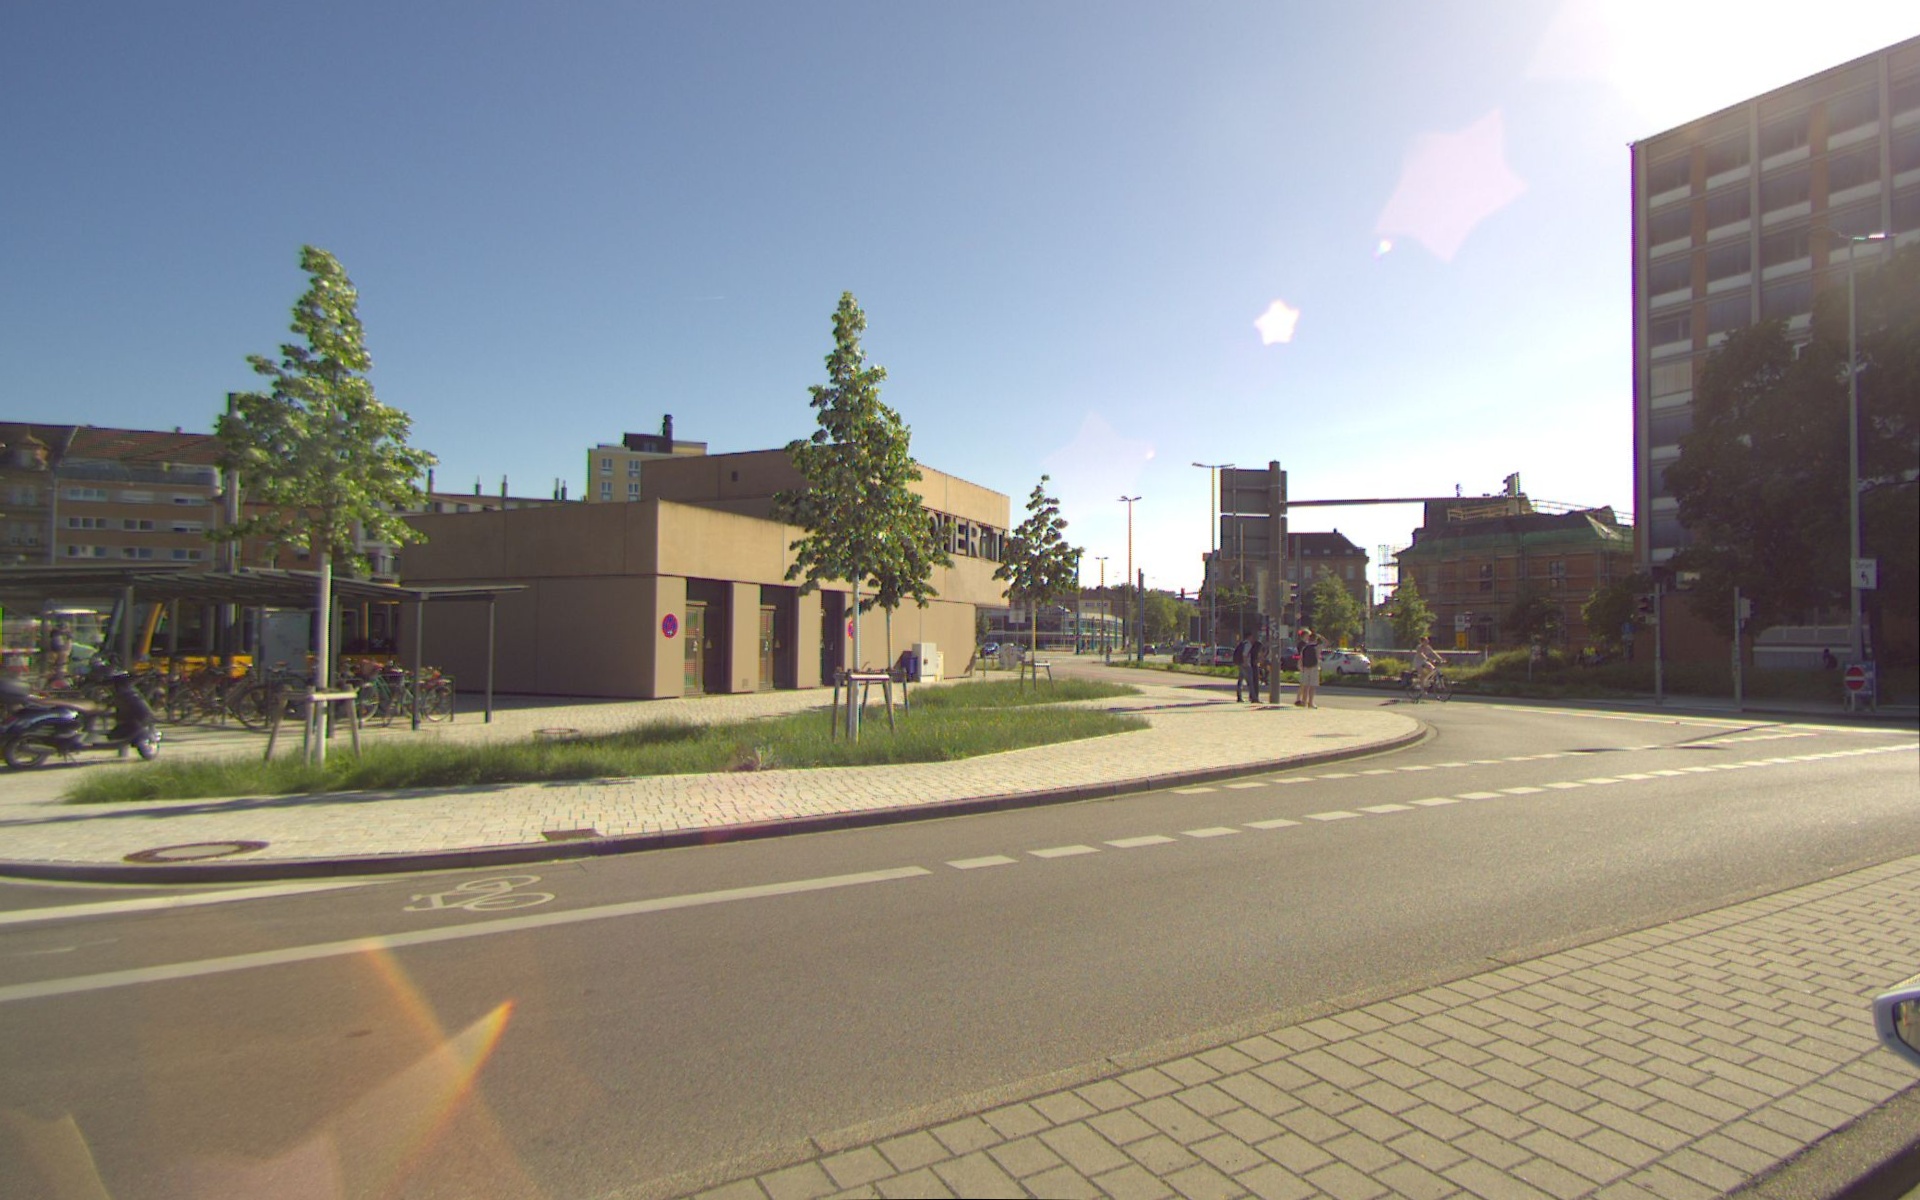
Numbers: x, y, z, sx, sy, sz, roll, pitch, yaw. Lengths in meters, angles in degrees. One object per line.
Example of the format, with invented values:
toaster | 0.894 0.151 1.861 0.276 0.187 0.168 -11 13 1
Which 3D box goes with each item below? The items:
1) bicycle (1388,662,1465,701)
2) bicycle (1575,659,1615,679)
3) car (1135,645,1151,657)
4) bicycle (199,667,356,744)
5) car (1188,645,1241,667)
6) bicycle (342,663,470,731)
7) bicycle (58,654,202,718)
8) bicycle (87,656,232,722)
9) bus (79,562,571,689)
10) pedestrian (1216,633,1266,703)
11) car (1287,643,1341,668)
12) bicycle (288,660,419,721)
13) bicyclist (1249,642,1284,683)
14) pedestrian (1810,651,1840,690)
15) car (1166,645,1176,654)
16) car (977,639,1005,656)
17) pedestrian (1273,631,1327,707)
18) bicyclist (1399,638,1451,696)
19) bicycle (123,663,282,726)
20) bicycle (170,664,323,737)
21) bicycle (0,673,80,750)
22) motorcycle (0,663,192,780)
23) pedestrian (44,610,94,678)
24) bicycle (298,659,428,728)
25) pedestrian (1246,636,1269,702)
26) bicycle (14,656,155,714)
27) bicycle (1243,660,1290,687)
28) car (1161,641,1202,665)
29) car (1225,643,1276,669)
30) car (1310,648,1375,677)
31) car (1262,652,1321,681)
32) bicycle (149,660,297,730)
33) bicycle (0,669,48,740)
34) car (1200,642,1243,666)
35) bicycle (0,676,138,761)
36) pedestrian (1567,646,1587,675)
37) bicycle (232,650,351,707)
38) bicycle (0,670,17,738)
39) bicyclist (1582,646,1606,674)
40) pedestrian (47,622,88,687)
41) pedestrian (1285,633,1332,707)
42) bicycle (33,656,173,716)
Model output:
bicycle | 12.629 2.202 27.287 0.729 1.008 1.983 1 -4 -18
bicycle | 33.582 3.643 53.185 0.587 0.976 2.081 1 -2 -8
car | 25.209 6.991 138.370 1.807 1.653 4.390 0 -2 6
bicycle | -10.900 1.652 16.132 0.524 1.051 2.070 2 0 26
car | 17.270 3.766 68.325 1.810 1.406 4.895 1 -2 -8
bicycle | -9.964 1.723 18.160 0.524 1.051 2.070 2 0 26
bicycle | -15.899 1.626 19.319 0.524 1.051 2.070 5 1 26
bicycle | -15.014 1.643 18.904 0.524 1.051 2.070 5 1 26
bus | -18.437 0.873 31.342 2.810 3.112 13.620 0 -2 25
pedestrian | 7.112 1.735 25.464 0.831 1.711 0.896 5 -5 -34
car | 25.829 4.040 73.441 1.809 1.653 4.836 1 -2 -6
bicycle | -11.759 1.728 19.571 0.679 1.011 2.140 2 0 26
bicyclist | 10.911 2.229 35.798 0.675 1.440 1.125 1 -4 -14
pedestrian | 36.256 2.957 42.124 0.588 1.624 0.738 1 -2 -12
car | 50.549 11.910 241.069 1.959 2.040 4.003 0 -2 7
car | 3.810 5.820 123.332 1.962 2.040 3.997 0 -2 25
pedestrian | 8.393 1.706 24.840 1.082 1.822 0.705 2 -4 -5
bicyclist | 12.625 1.816 27.302 0.729 1.519 1.069 1 -4 -17
bicycle | -13.706 1.680 18.260 0.673 0.956 2.233 2 0 25
bicycle | -11.942 1.657 16.899 0.524 1.051 2.070 2 0 26
bicycle | -13.227 1.546 13.811 0.399 0.985 1.683 2 0 22
motorcycle | -10.846 1.449 12.475 0.558 1.235 2.087 0 -1 21
pedestrian | -25.991 1.283 29.309 0.755 1.942 0.803 0 -2 23
bicycle | -10.911 1.680 18.451 0.594 1.093 2.053 2 0 25
pedestrian | 8.007 1.852 27.059 0.585 1.751 0.580 0 -2 14
bicycle | -17.769 1.700 20.455 0.524 1.051 2.070 5 0 26
bicycle | 10.906 2.612 35.774 0.675 0.930 1.986 1 -4 -14
car | 16.523 3.940 75.124 1.809 1.653 4.386 1 -2 -4
car | 20.041 3.841 69.432 1.810 1.653 4.382 1 -2 -8
car | 21.233 3.450 55.909 1.711 1.454 3.843 1 -2 -10
car | 20.700 4.134 62.888 1.810 1.653 4.382 1 -2 -8
bicycle | -12.896 1.632 17.656 0.524 1.051 2.070 2 0 26
bicycle | -14.197 1.528 14.374 0.399 0.985 1.683 2 0 22
car | 19.620 4.036 75.505 1.809 1.653 4.386 1 -2 -4
bicycle | -12.199 1.576 13.577 0.399 0.985 1.683 2 0 22
pedestrian | 34.372 3.377 55.963 0.548 1.592 0.862 1 -2 -3
bicycle | -13.914 1.617 20.991 0.524 1.051 2.070 2 0 26
bicycle | -14.715 1.543 14.424 0.399 0.985 1.683 2 0 22
bicyclist | 33.583 3.154 53.195 0.587 1.448 0.938 1 -2 -8
pedestrian | -28.699 1.737 32.310 0.526 2.040 0.803 0 -2 23
pedestrian | 8.337 1.675 24.036 0.775 1.711 0.794 2 -5 -11
bicycle | -16.881 1.679 19.847 0.524 1.051 2.070 -2 -2 26
